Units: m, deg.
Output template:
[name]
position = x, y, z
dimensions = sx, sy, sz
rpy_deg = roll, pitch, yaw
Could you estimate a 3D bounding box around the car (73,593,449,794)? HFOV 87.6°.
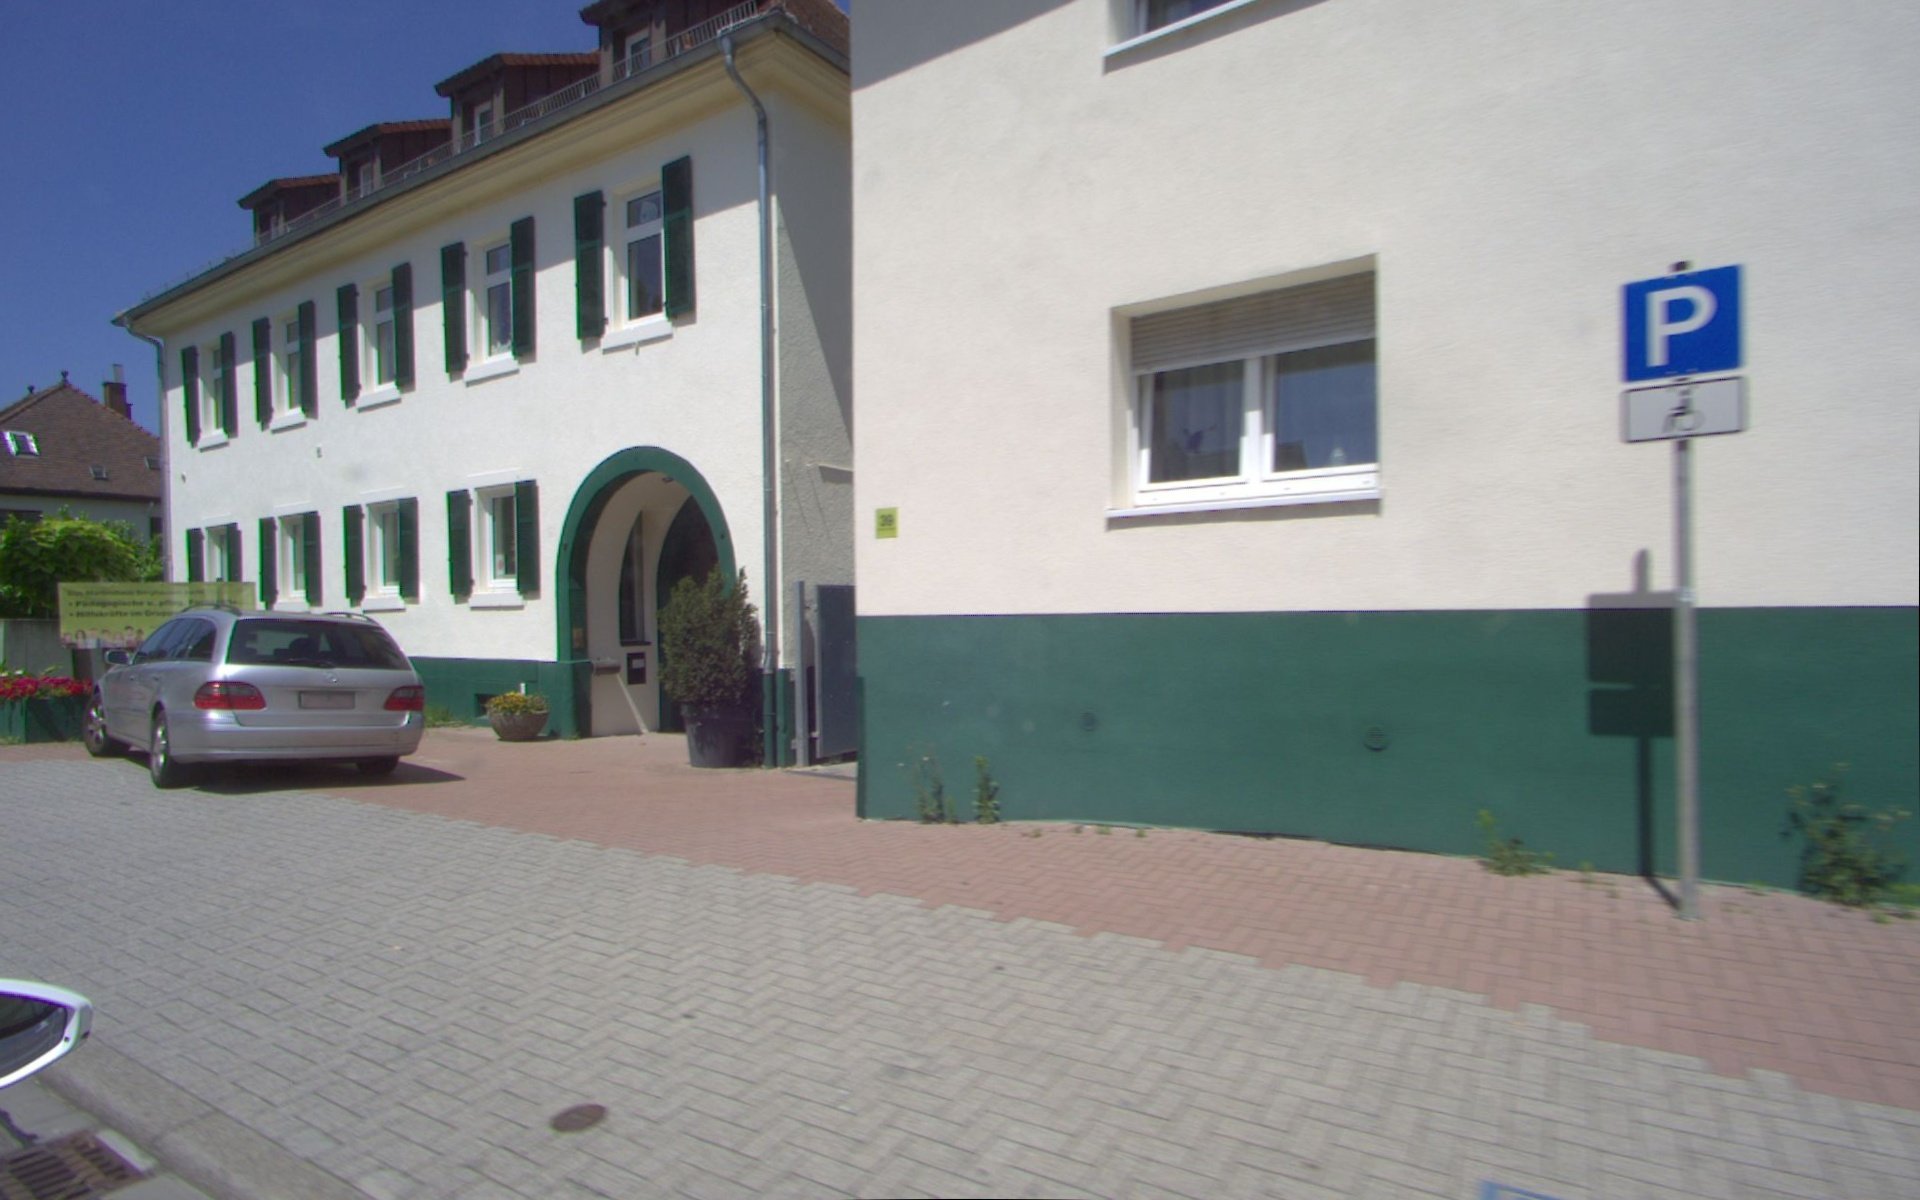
[car]
position = -6.910, 0.802, 9.670
dimensions = 4.829, 1.480, 1.808
rpy_deg = -1, -5, 41
